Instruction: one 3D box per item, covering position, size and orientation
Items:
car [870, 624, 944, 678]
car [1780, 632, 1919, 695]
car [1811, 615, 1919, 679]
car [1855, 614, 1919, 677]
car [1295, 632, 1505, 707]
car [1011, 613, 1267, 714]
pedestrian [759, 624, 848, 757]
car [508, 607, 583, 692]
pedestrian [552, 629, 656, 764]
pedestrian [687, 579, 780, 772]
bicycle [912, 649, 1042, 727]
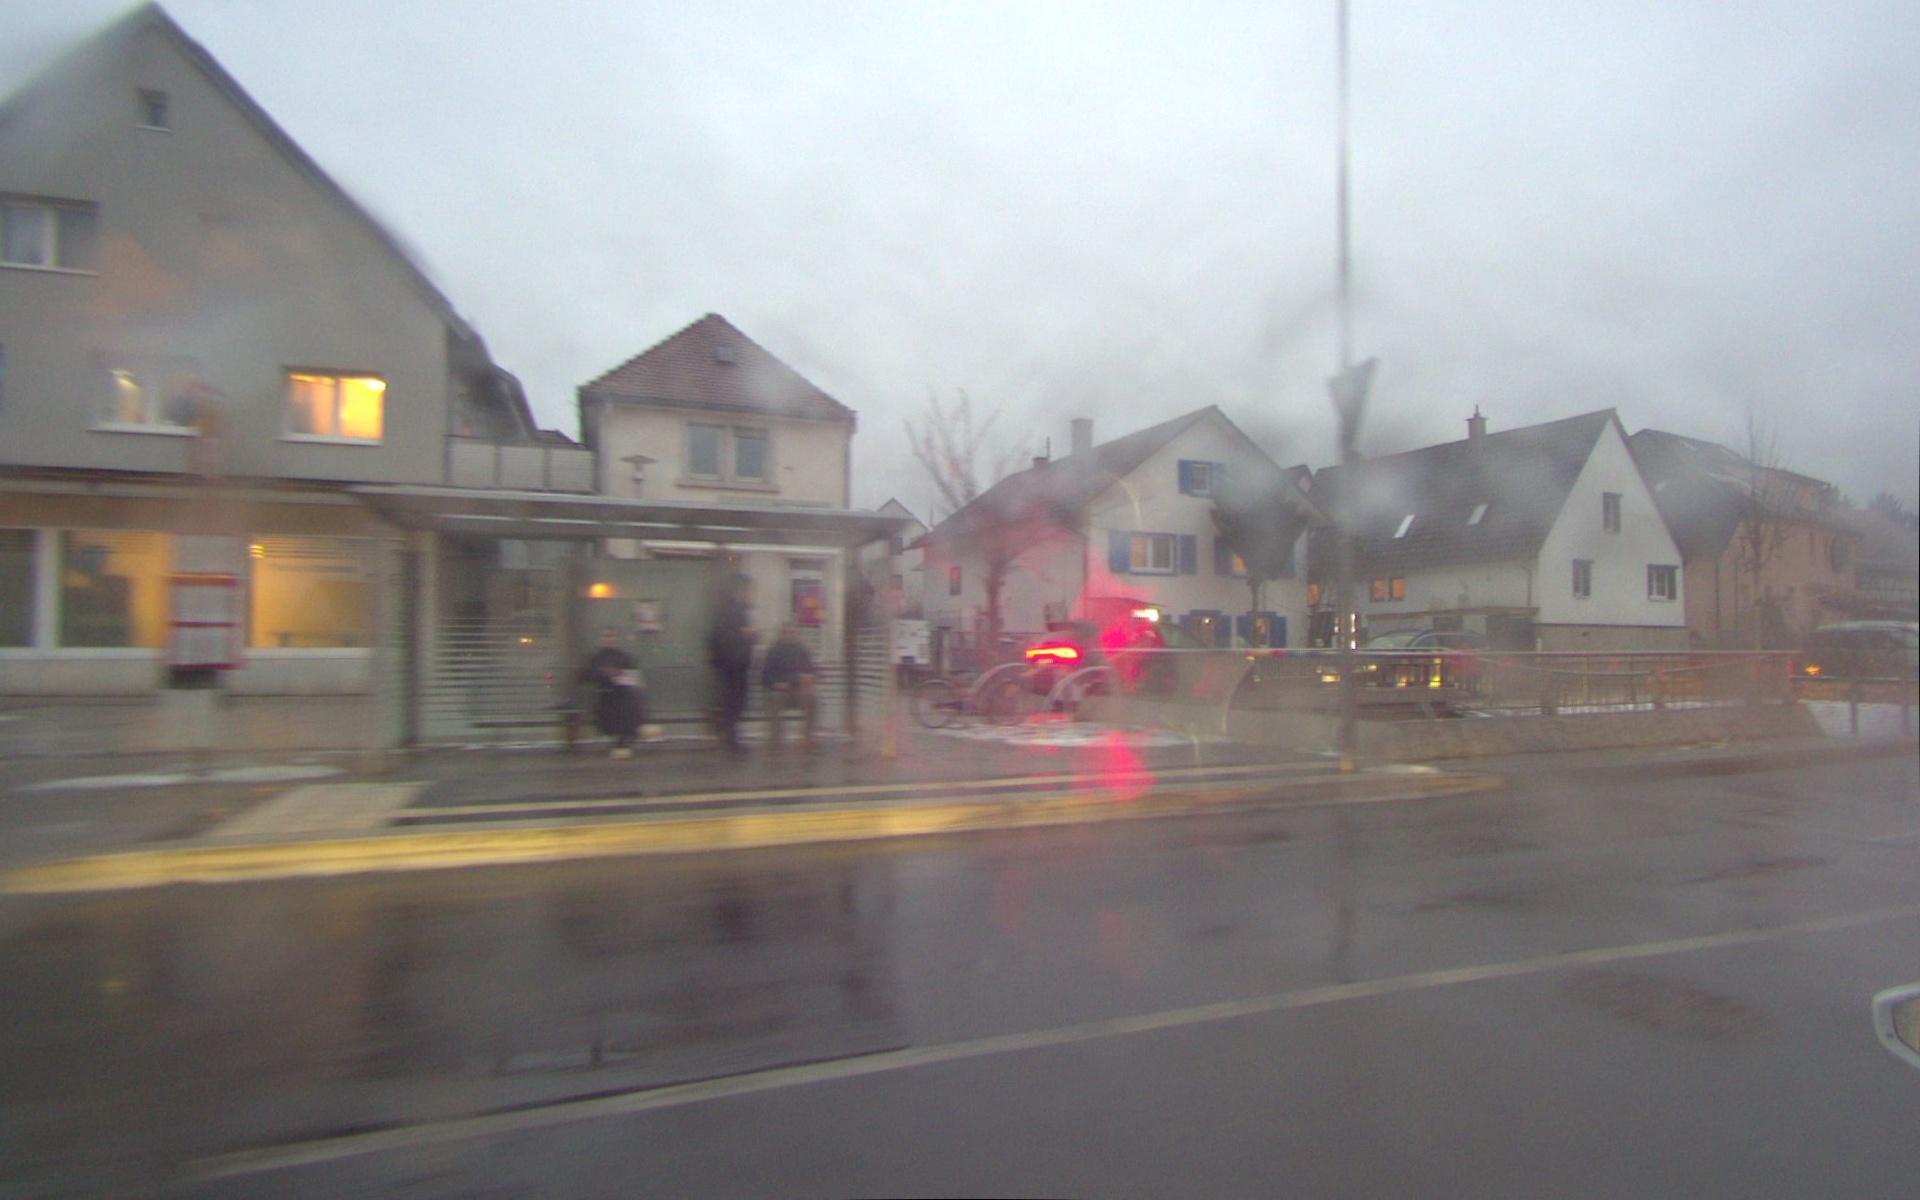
[{"bbox_3d":[-1.999,1.883,36.916,1.651,1.865,3.648,0,-4,-21],"label":"car"},{"bbox_3d":[21.315,1.437,23.147,1.582,1.390,3.429,1,-2,-30],"label":"car"},{"bbox_3d":[23.583,1.156,24.643,1.690,1.543,3.786,2,-1,-22],"label":"car"},{"bbox_3d":[25.843,1.201,25.743,1.566,1.629,4.080,2,-1,-26],"label":"car"},{"bbox_3d":[9.672,1.512,22.027,4.514,1.502,1.796,2,-4,-28],"label":"car"},{"bbox_3d":[3.375,1.160,18.849,4.500,1.723,1.751,1,-4,-24],"label":"car"},{"bbox_3d":[-1.625,0.906,10.373,0.740,1.288,0.683,1,0,-25],"label":"pedestrian"},{"bbox_3d":[-9.854,1.173,24.060,1.490,1.877,3.412,2,-2,-20],"label":"car"},{"bbox_3d":[-3.425,0.890,9.687,0.888,1.174,0.987,-1,0,-20],"label":"pedestrian"},{"bbox_3d":[-2.185,0.692,9.658,0.679,1.765,0.744,1,0,-29],"label":"pedestrian"},{"bbox_3d":[0.232,1.186,13.718,1.709,1.023,0.470,1,-2,-13],"label":"bicycle"}]
